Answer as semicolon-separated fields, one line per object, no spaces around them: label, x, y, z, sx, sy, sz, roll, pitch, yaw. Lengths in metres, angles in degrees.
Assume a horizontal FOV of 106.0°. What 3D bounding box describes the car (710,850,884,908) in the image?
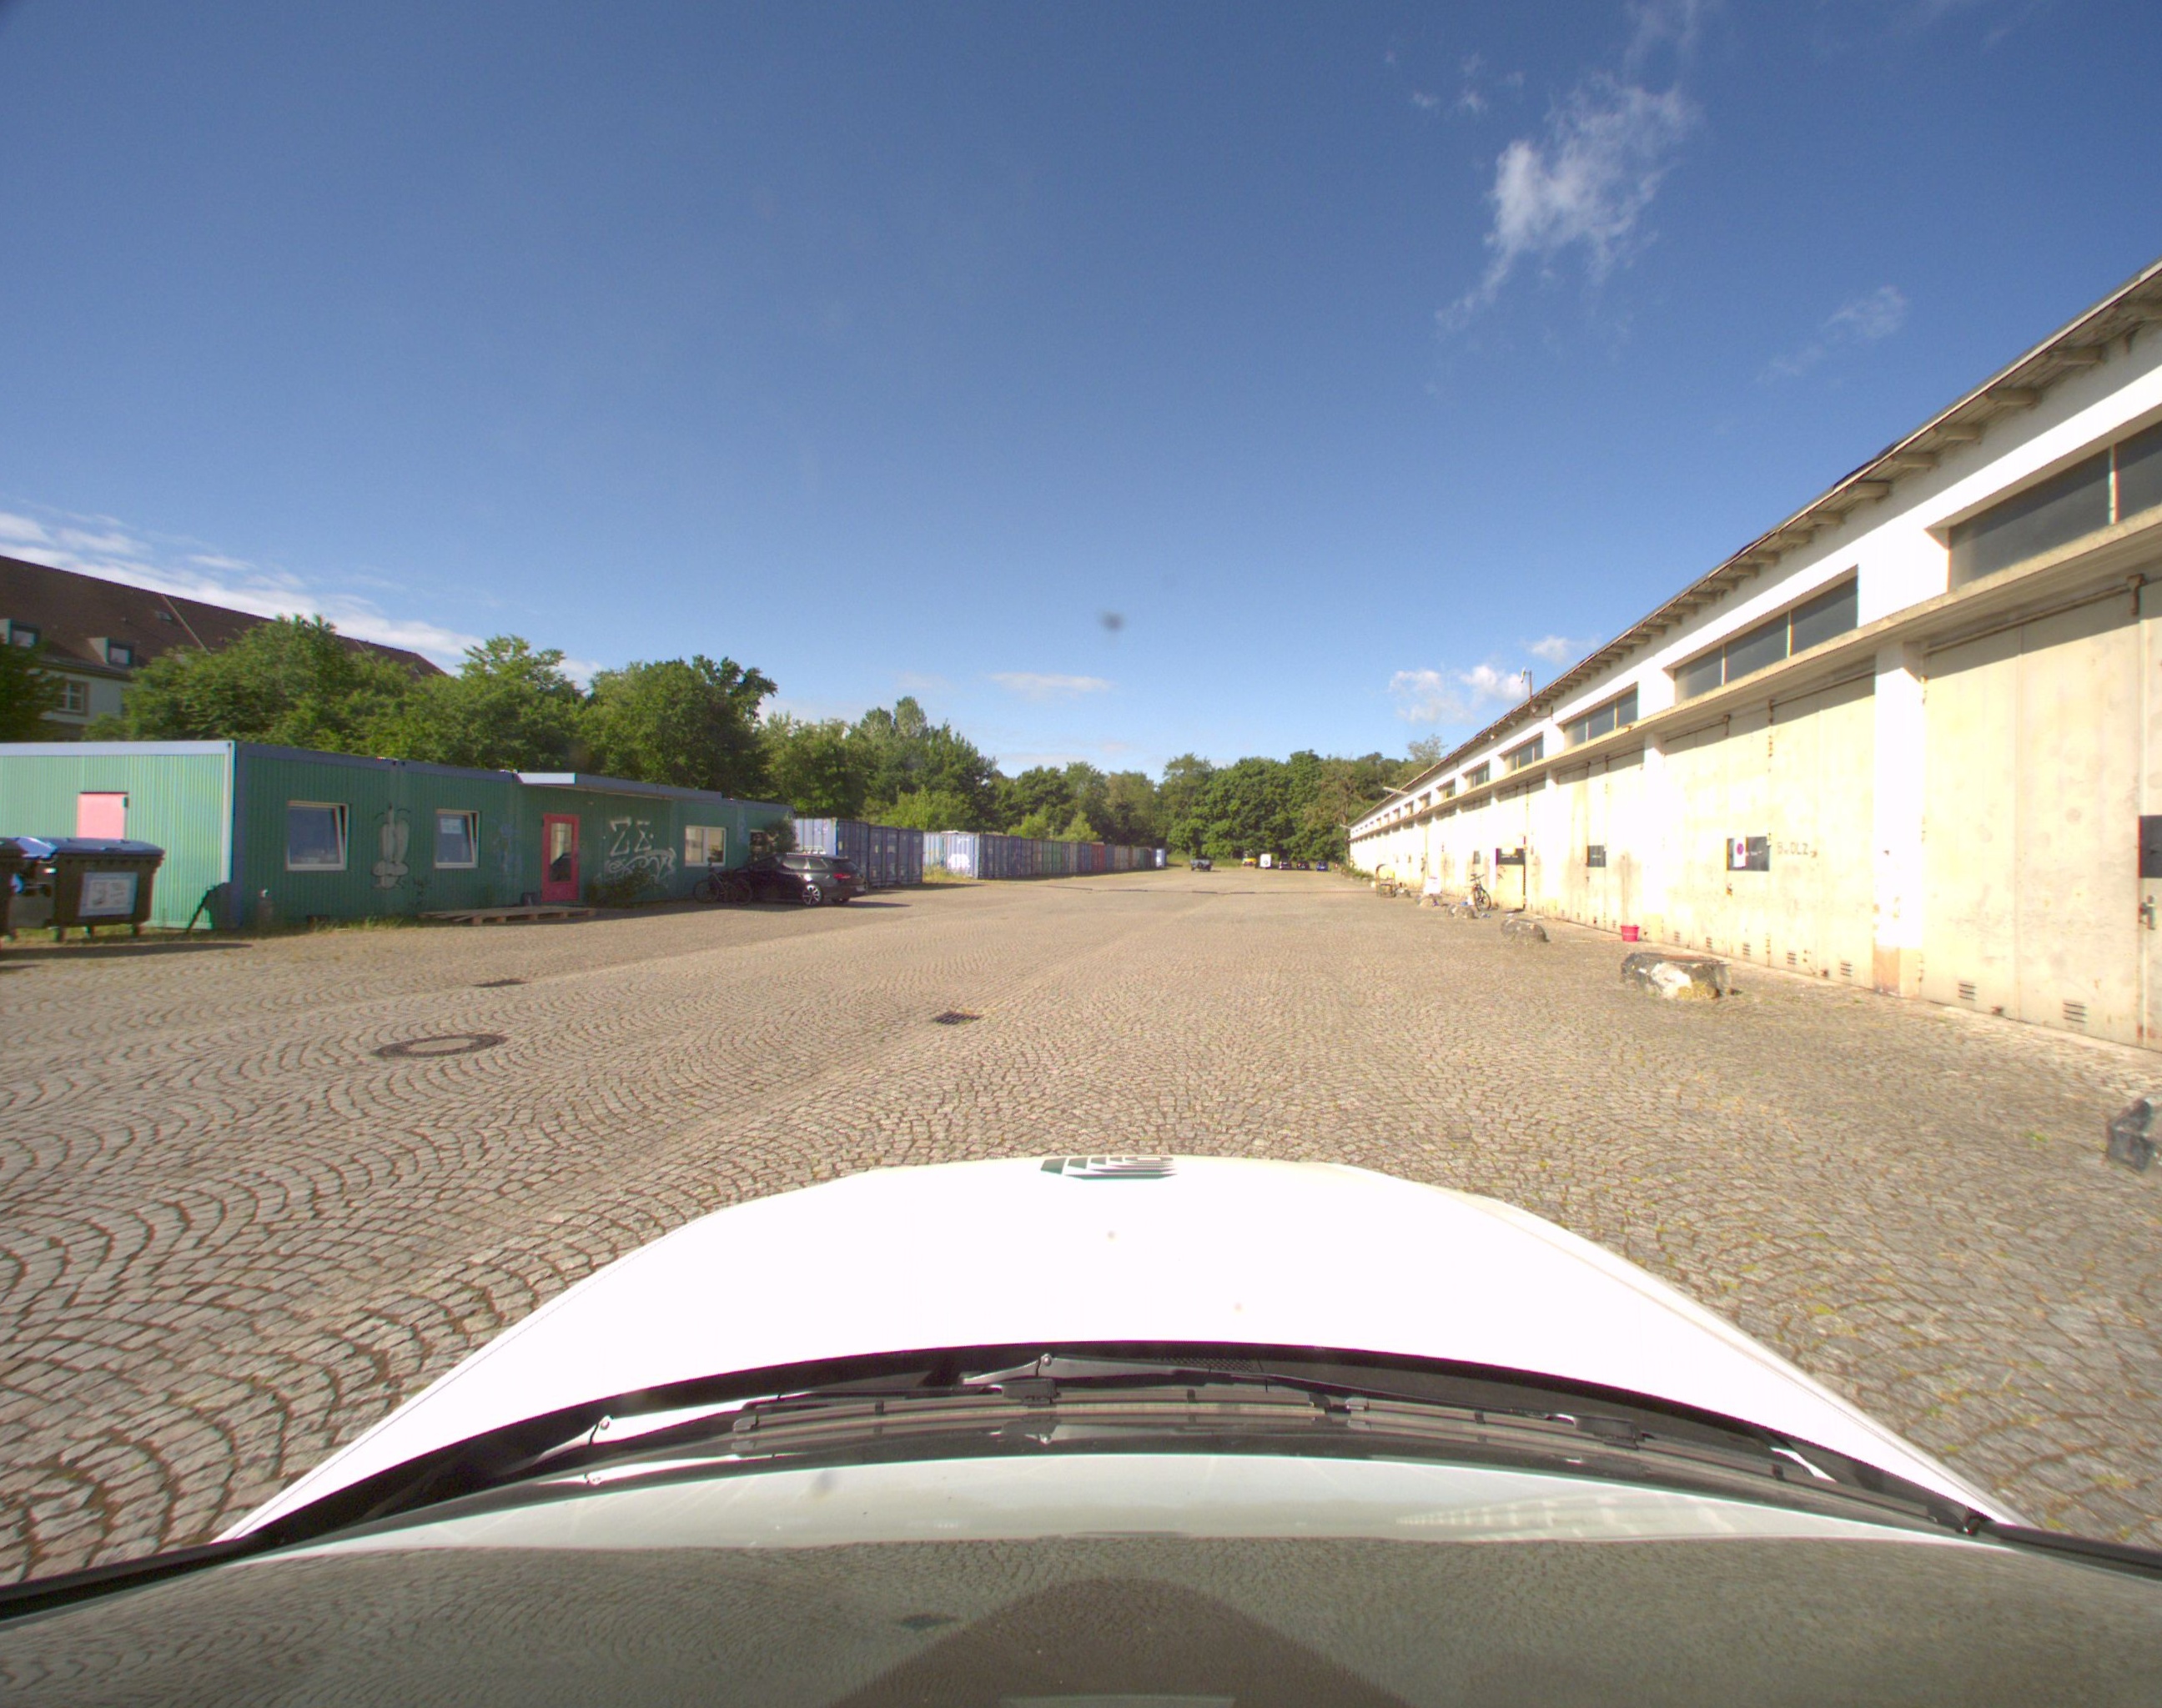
car;-8.038;0.682;23.187;4.223;1.449;1.938;2;-1;12

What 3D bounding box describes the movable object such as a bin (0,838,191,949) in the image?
movable object such as a bin;-14.008;0.531;11.648;0.878;1.458;1.442;2;-1;4

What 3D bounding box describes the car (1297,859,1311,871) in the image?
car;31.336;1.469;114.659;1.850;1.470;4.313;2;2;15

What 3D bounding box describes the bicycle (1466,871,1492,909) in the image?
bicycle;11.931;1.068;24.381;0.658;1.068;1.835;1;-1;27

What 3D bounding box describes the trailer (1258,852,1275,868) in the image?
trailer;26.876;0.799;117.903;2.177;2.094;5.774;2;2;15

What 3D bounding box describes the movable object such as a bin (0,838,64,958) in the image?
movable object such as a bin;-13.710;0.528;9.836;1.010;1.458;1.446;2;-1;14

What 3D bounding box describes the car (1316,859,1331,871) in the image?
car;33.980;1.521;113.910;1.730;1.436;4.204;2;2;20

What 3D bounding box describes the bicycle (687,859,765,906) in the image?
bicycle;-9.432;0.753;21.650;1.791;1.170;0.670;2;-1;12

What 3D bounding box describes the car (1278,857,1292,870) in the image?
car;28.849;1.347;114.923;1.850;1.589;4.313;2;2;15

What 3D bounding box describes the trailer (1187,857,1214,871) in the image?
trailer;14.733;1.244;100.209;2.686;1.465;6.270;2;1;13

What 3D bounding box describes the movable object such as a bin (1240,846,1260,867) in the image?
movable object such as a bin;24.750;0.332;119.071;2.289;2.896;5.775;2;2;16
